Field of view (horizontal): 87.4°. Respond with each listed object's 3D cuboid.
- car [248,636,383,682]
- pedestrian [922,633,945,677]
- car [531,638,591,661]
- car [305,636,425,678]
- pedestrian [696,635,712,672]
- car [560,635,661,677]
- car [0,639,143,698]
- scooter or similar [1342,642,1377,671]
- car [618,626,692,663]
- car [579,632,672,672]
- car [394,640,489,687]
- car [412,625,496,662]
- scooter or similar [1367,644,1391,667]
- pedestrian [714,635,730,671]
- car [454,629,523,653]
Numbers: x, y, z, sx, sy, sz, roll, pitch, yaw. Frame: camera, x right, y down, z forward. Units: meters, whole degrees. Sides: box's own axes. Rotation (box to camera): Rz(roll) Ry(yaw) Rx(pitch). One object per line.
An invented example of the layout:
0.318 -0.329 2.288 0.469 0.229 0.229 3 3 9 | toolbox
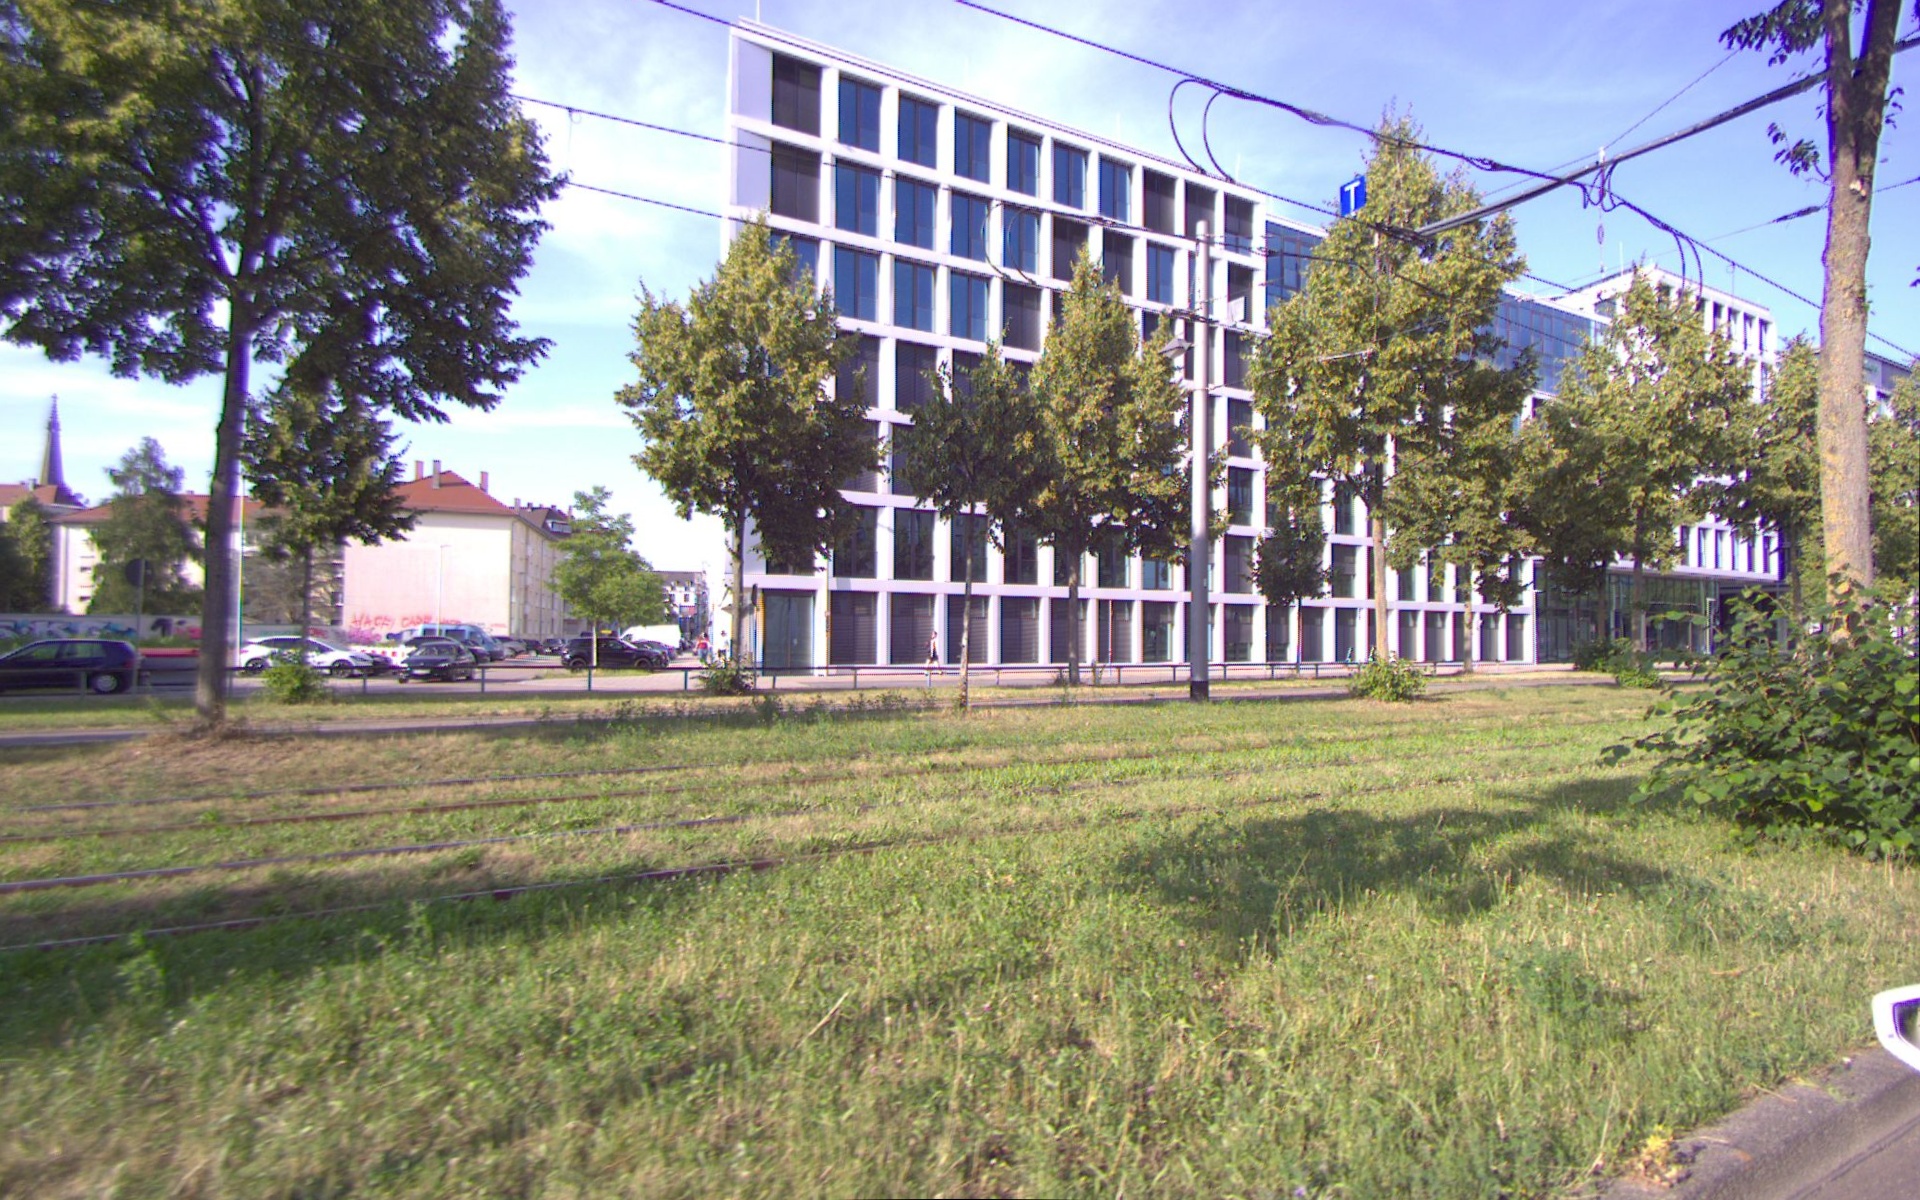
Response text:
-24.518 2.252 38.350 3.938 1.617 1.846 2 -1 -19 | car
-1.065 2.221 40.497 0.683 1.750 0.565 2 0 -30 | pedestrian
-32.430 4.027 81.733 4.423 1.649 1.696 2 -1 -18 | car
-24.586 2.369 41.637 3.937 1.578 1.683 2 -1 -18 | car
-12.141 2.542 47.663 0.622 1.652 0.591 2 3 -6 | pedestrian
-15.191 2.432 43.850 3.933 1.694 1.855 2 -1 -14 | car
-23.880 1.758 26.250 3.722 1.411 1.669 2 -1 -33 | car
21.333 3.009 53.683 0.409 1.496 1.923 2 -1 -25 | scooter or similar
-22.145 3.238 73.135 4.944 2.566 1.807 2 -1 -14 | car
-15.559 2.431 46.893 3.933 1.694 1.855 2 -1 -14 | car
-18.639 2.262 36.293 1.743 1.446 3.995 2 -1 -7 | car
-31.930 2.734 63.553 4.423 2.187 1.848 2 -1 -18 | car
22.929 3.048 54.924 1.278 1.242 0.335 2 0 -17 | scooter or similar
-11.331 2.536 47.808 0.622 1.652 0.591 2 3 -6 | pedestrian
-35.151 3.081 74.960 4.423 1.649 1.696 2 -1 -18 | car
